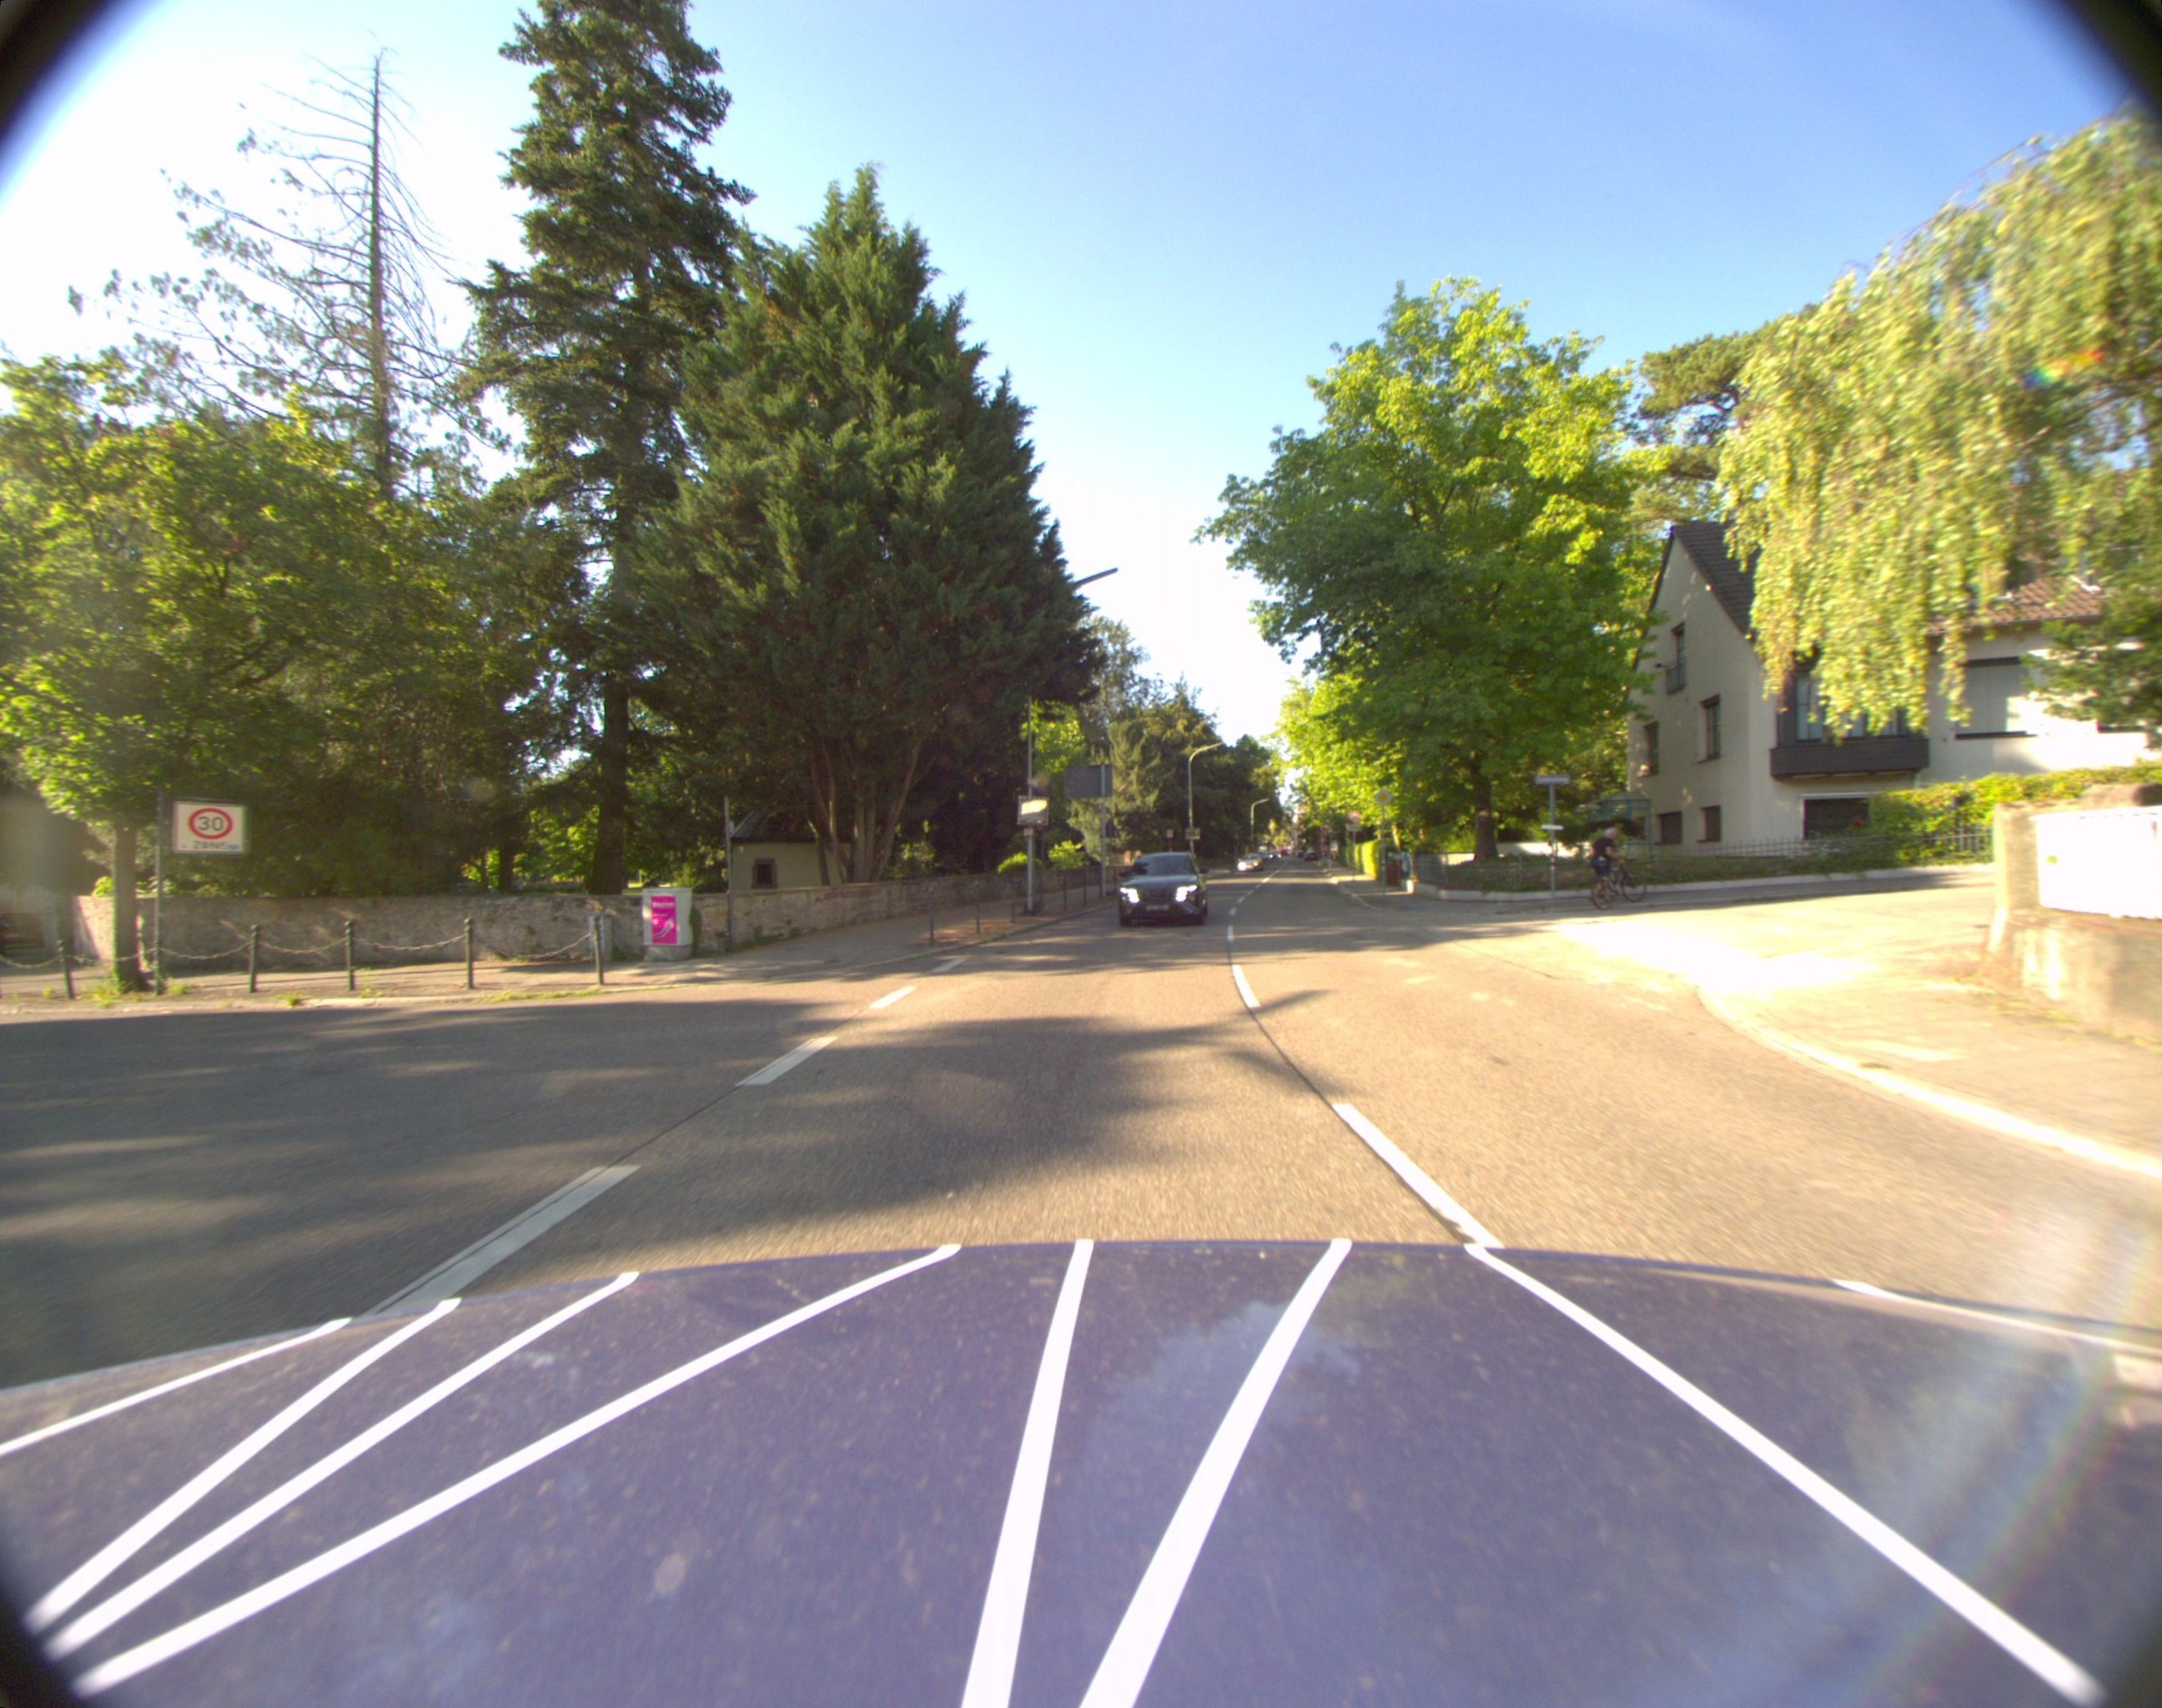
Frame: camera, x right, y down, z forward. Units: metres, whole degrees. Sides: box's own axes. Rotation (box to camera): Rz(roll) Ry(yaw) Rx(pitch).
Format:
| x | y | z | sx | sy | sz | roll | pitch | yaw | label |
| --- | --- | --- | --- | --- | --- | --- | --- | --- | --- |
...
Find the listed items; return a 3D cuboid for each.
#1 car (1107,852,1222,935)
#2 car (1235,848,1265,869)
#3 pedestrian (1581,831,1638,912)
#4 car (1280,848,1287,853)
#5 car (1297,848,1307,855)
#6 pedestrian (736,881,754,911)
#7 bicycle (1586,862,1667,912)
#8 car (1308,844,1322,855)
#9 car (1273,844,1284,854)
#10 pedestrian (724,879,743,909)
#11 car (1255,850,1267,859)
| x | y | z | sx | sy | sz | roll | pitch | yaw | label |
| --- | --- | --- | --- | --- | --- | --- | --- | --- | --- |
| 2.112 | 0.819 | 17.890 | 1.934 | 1.676 | 4.437 | -1 | 0 | 16 | car |
| 14.175 | 0.343 | 63.440 | 1.996 | 1.630 | 4.005 | -3 | 0 | 18 | car |
| 12.294 | 0.407 | 17.671 | 0.944 | 1.815 | 0.553 | -3 | -1 | -22 | pedestrian |
| 57.631 | -1.068 | 216.391 | 1.822 | 1.375 | 3.938 | 2 | 1 | 11 | car |
| 48.747 | -0.575 | 167.483 | 1.822 | 1.375 | 3.938 | 2 | 1 | 11 | car |
| -19.436 | 2.428 | 43.925 | 0.590 | 1.719 | 0.599 | -3 | 0 | 16 | pedestrian |
| 12.594 | 0.741 | 17.529 | 1.819 | 1.036 | 0.561 | -3 | -1 | -21 | bicycle |
| 34.589 | -0.672 | 112.243 | 1.688 | 1.425 | 3.620 | -4 | -1 | 15 | car |
| 40.670 | -0.984 | 156.731 | 1.996 | 2.002 | 4.004 | -2 | 0 | 13 | car |
| -19.735 | 2.263 | 43.118 | 0.759 | 1.608 | 0.567 | -3 | 0 | 28 | pedestrian |
| 31.386 | 0.088 | 132.517 | 1.822 | 1.375 | 3.938 | 2 | 1 | 11 | car |
